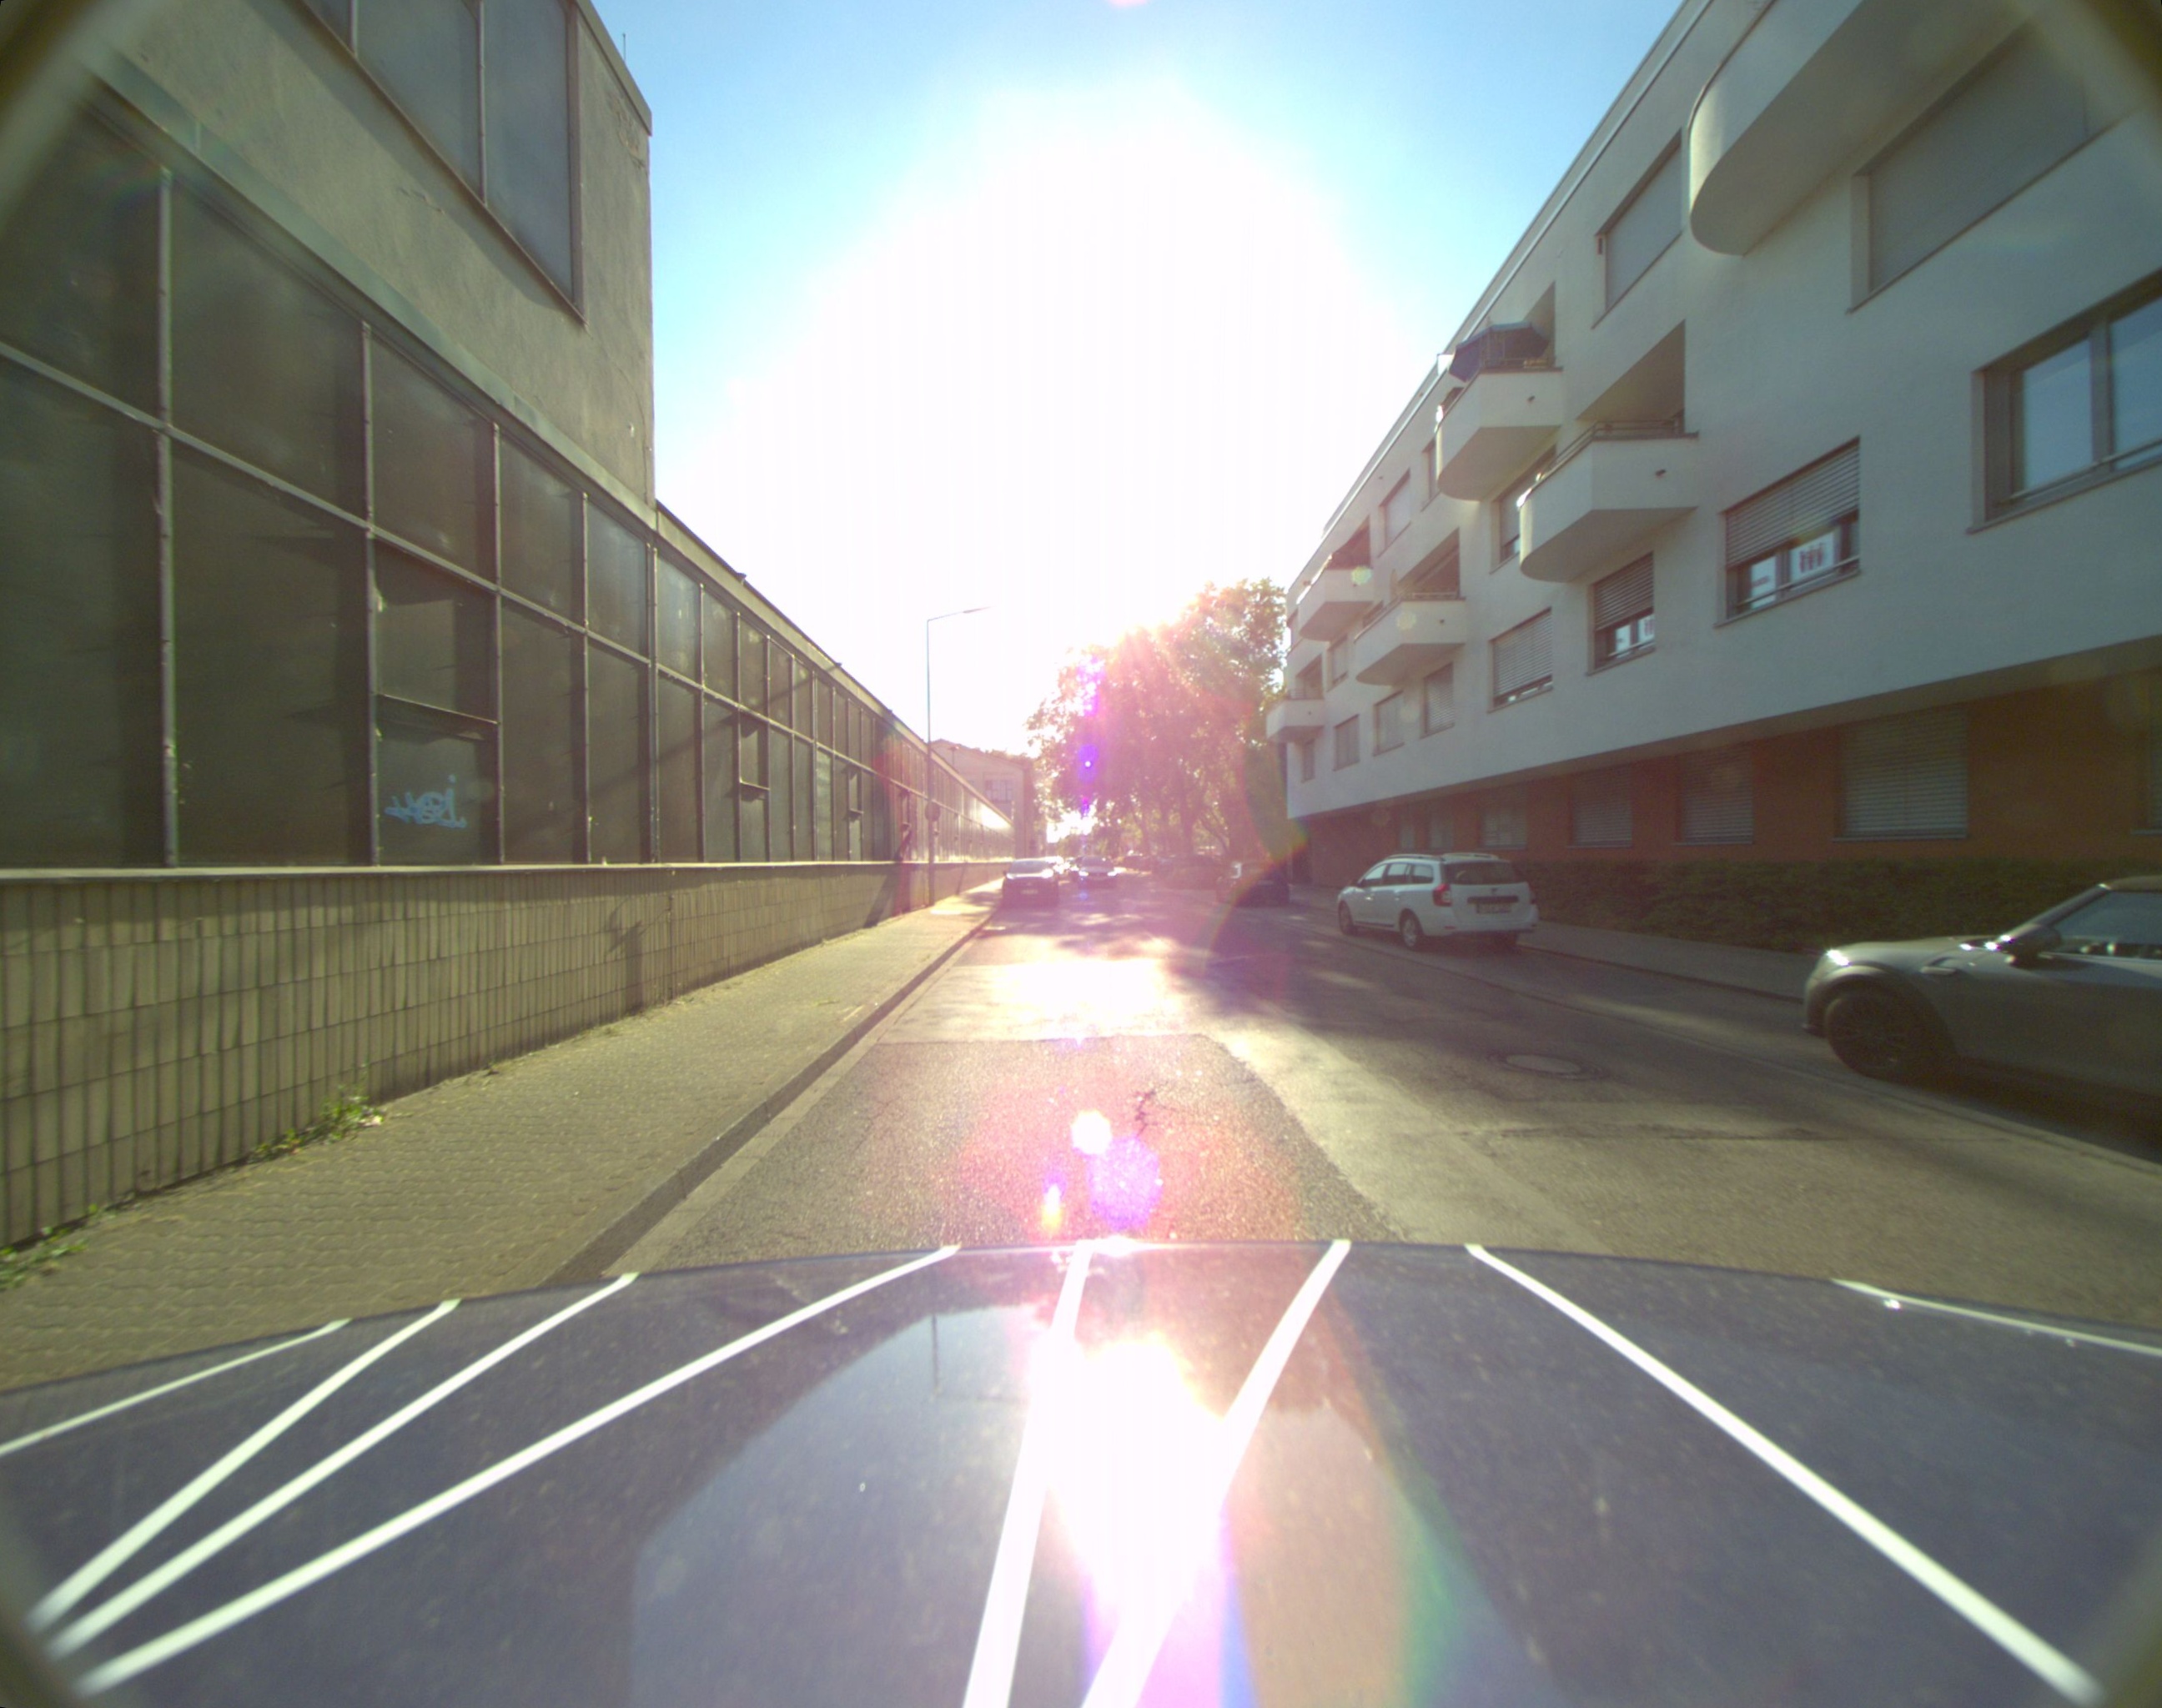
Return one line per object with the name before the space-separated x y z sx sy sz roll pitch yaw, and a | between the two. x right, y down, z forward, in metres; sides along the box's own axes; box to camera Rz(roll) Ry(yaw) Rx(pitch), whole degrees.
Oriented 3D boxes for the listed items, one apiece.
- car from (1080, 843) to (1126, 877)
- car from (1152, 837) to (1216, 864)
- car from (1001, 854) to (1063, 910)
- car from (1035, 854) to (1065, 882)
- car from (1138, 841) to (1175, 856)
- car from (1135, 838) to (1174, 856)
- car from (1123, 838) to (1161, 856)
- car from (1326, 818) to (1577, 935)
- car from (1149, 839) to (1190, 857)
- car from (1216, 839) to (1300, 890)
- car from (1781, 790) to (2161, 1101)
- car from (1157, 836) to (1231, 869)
car | 1.060 0.282 38.801 1.855 1.527 3.855 -4 1 -4
car | 7.579 -0.267 56.013 4.274 1.765 1.902 -3 1 -24
car | -1.626 0.867 25.934 1.812 1.578 4.403 -4 1 -3
car | -2.069 0.861 49.240 1.755 1.625 3.999 -3 1 -4
car | 8.378 -0.611 84.024 3.603 1.552 1.647 -3 1 -19
car | 8.414 -0.800 86.873 4.002 1.871 1.831 -3 1 -17
car | 7.168 -0.790 89.387 4.005 1.876 1.713 -4 1 -28
car | 6.169 0.299 13.396 1.863 1.578 4.619 -4 1 -4
car | 8.765 -0.588 75.295 3.654 1.652 1.646 -4 1 -27
car | 5.722 0.283 24.950 1.679 1.425 3.769 -4 1 -2
car | 6.220 0.423 3.856 1.672 1.527 3.856 -4 1 -1
car | 6.578 -0.100 44.012 3.965 1.653 1.696 -4 1 -29
